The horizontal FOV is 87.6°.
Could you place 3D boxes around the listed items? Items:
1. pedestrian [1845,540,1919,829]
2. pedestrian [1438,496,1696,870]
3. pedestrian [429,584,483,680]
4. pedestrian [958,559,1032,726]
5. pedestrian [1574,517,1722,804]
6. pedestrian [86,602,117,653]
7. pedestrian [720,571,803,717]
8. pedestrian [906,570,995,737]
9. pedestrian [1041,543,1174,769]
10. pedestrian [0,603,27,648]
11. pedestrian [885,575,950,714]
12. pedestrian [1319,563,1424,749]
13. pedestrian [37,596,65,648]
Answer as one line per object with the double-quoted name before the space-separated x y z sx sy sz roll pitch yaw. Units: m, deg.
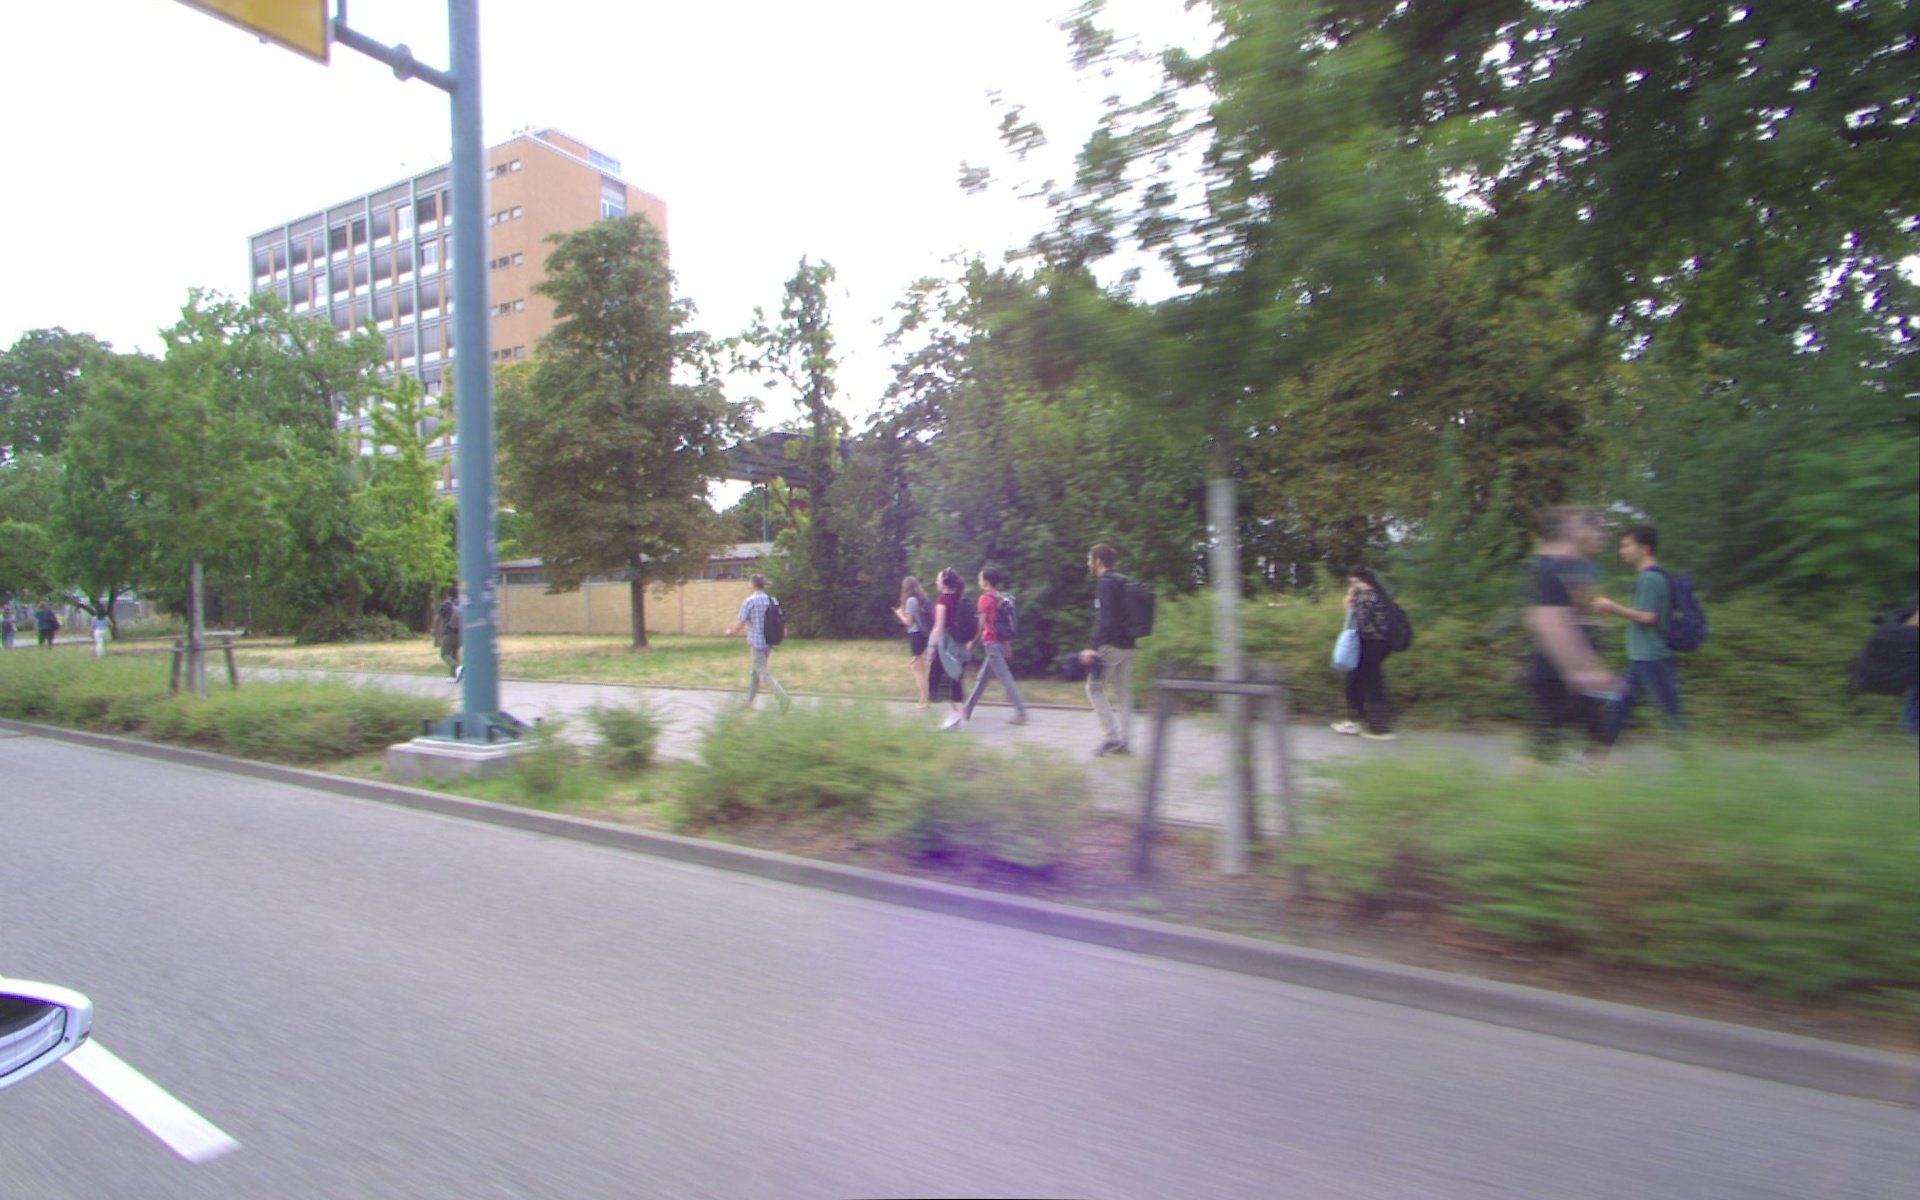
"pedestrian" 5.749 0.470 5.816 0.801 1.624 0.773 0 1 34
"pedestrian" 3.348 0.410 5.560 0.923 1.855 0.882 -1 1 -29
"pedestrian" -9.250 0.572 18.389 0.738 1.705 0.585 0 1 35
"pedestrian" 0.385 0.455 11.057 0.655 1.787 0.483 0 1 35
"pedestrian" 4.727 0.390 6.915 0.801 1.846 0.654 0 1 35
"pedestrian" -25.840 0.819 30.156 0.651 1.490 0.557 -1 1 -39
"pedestrian" -2.480 0.536 12.535 0.803 1.759 0.617 0 1 35
"pedestrian" -0.095 0.534 10.468 0.743 1.677 0.554 0 1 35
"pedestrian" 1.287 0.460 8.745 0.941 1.846 0.691 0 1 35
"pedestrian" -37.167 0.986 39.261 0.796 1.736 0.757 -2 1 -43
"pedestrian" -0.521 0.528 12.295 0.644 1.655 0.466 0 1 35
"pedestrian" 3.735 0.481 9.082 0.774 1.605 0.633 0 1 35
"pedestrian" -30.789 0.728 33.911 0.641 1.736 0.557 -1 1 -41
